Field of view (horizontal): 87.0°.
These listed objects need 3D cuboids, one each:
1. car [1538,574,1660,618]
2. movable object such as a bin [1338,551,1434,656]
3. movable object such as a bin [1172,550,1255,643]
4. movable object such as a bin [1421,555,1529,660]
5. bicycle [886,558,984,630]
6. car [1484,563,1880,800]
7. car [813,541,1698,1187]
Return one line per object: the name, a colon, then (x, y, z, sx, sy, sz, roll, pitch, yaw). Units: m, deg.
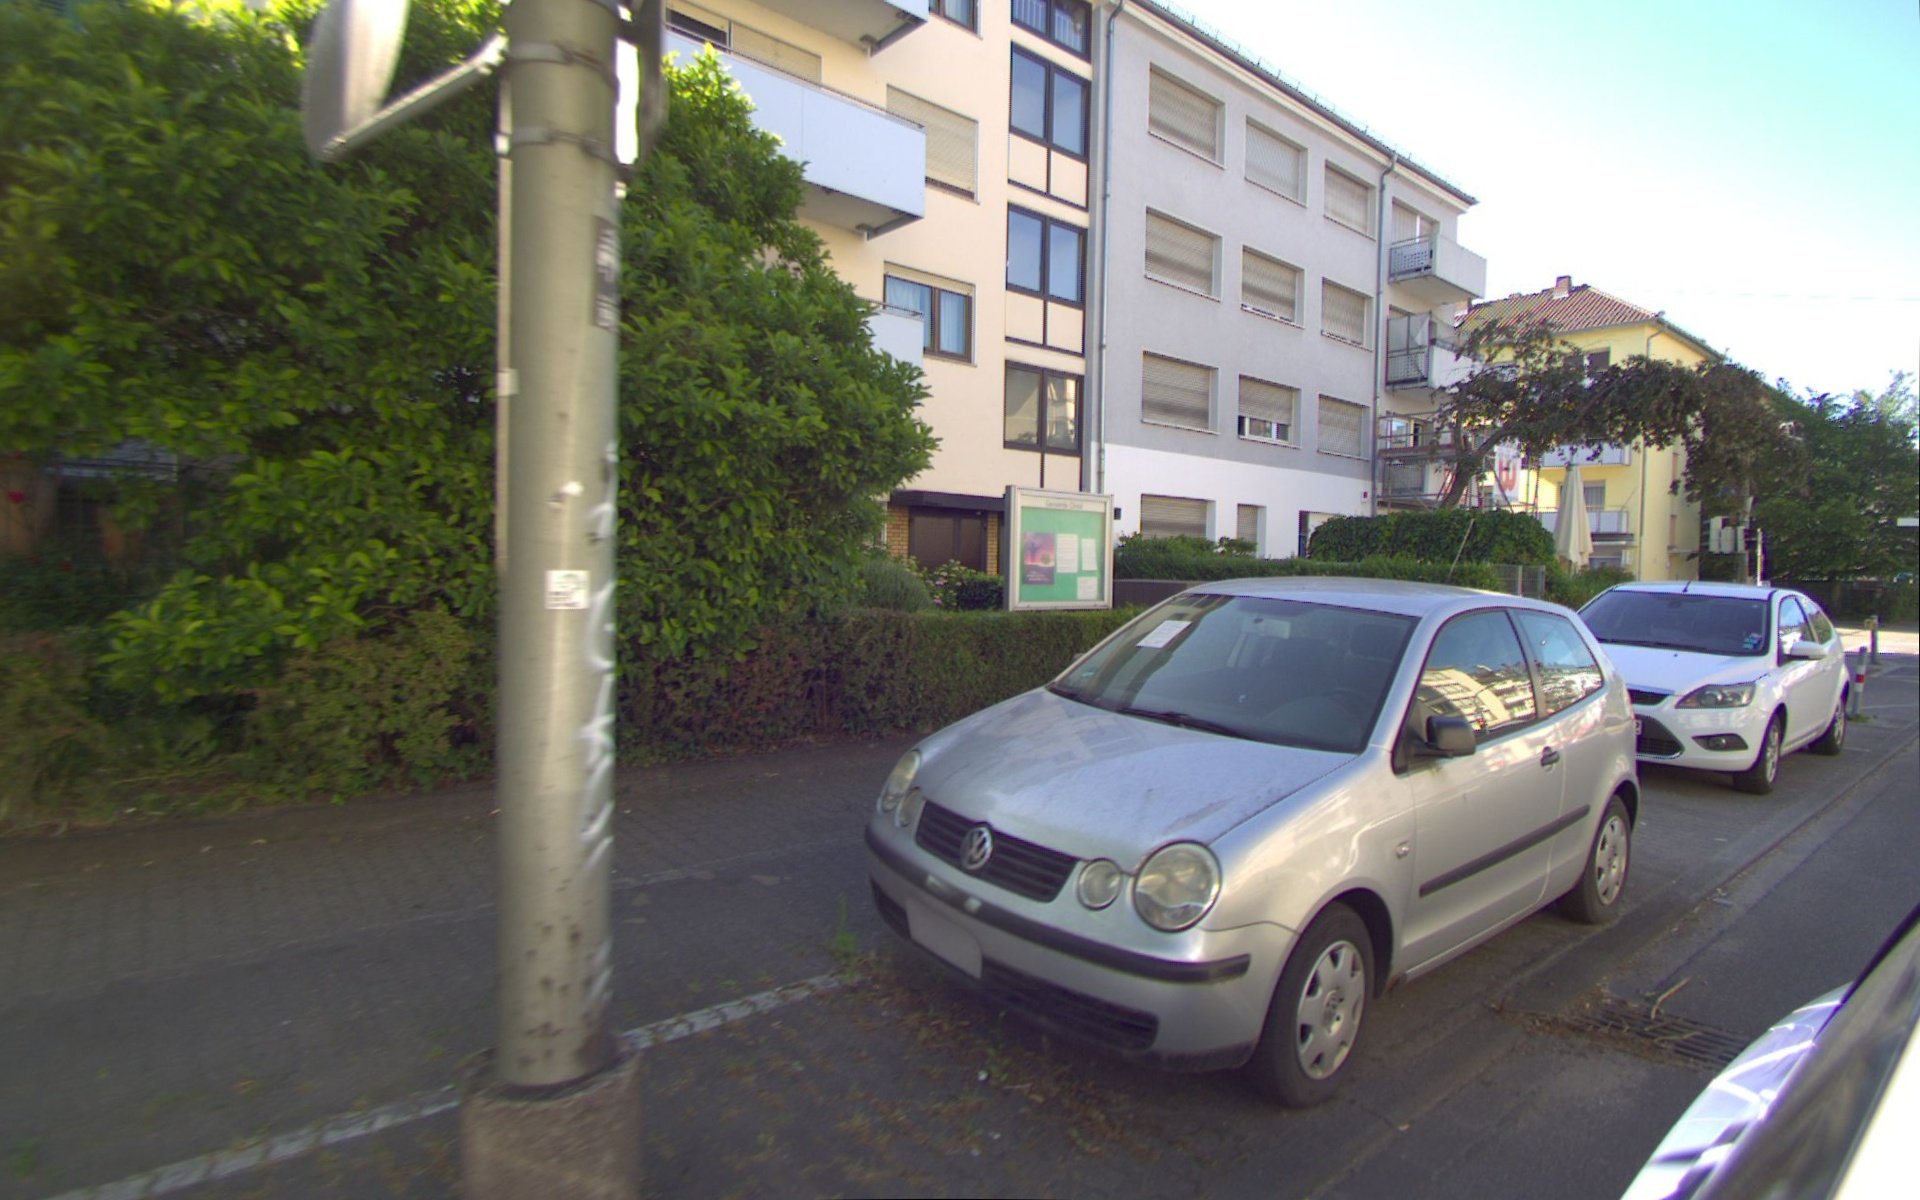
car: (24.229, -0.181, 38.466, 1.455, 1.500, 3.644, 0, 3, -40)
movable object such as a bin: (6.502, 0.034, 15.437, 1.086, 1.491, 0.831, 4, 3, 40)
movable object such as a bin: (4.377, -0.082, 17.482, 1.086, 1.509, 0.831, 4, 3, 40)
movable object such as a bin: (7.385, 0.081, 14.527, 1.138, 1.371, 0.831, 6, 4, 40)
bicycle: (-0.386, -0.111, 16.585, 1.689, 1.122, 0.460, 0, 3, -42)
car: (6.305, 0.500, 8.663, 4.122, 1.499, 1.743, -1, 4, -40)
car: (1.458, 0.567, 4.148, 3.796, 1.474, 1.571, 0, 4, -39)
